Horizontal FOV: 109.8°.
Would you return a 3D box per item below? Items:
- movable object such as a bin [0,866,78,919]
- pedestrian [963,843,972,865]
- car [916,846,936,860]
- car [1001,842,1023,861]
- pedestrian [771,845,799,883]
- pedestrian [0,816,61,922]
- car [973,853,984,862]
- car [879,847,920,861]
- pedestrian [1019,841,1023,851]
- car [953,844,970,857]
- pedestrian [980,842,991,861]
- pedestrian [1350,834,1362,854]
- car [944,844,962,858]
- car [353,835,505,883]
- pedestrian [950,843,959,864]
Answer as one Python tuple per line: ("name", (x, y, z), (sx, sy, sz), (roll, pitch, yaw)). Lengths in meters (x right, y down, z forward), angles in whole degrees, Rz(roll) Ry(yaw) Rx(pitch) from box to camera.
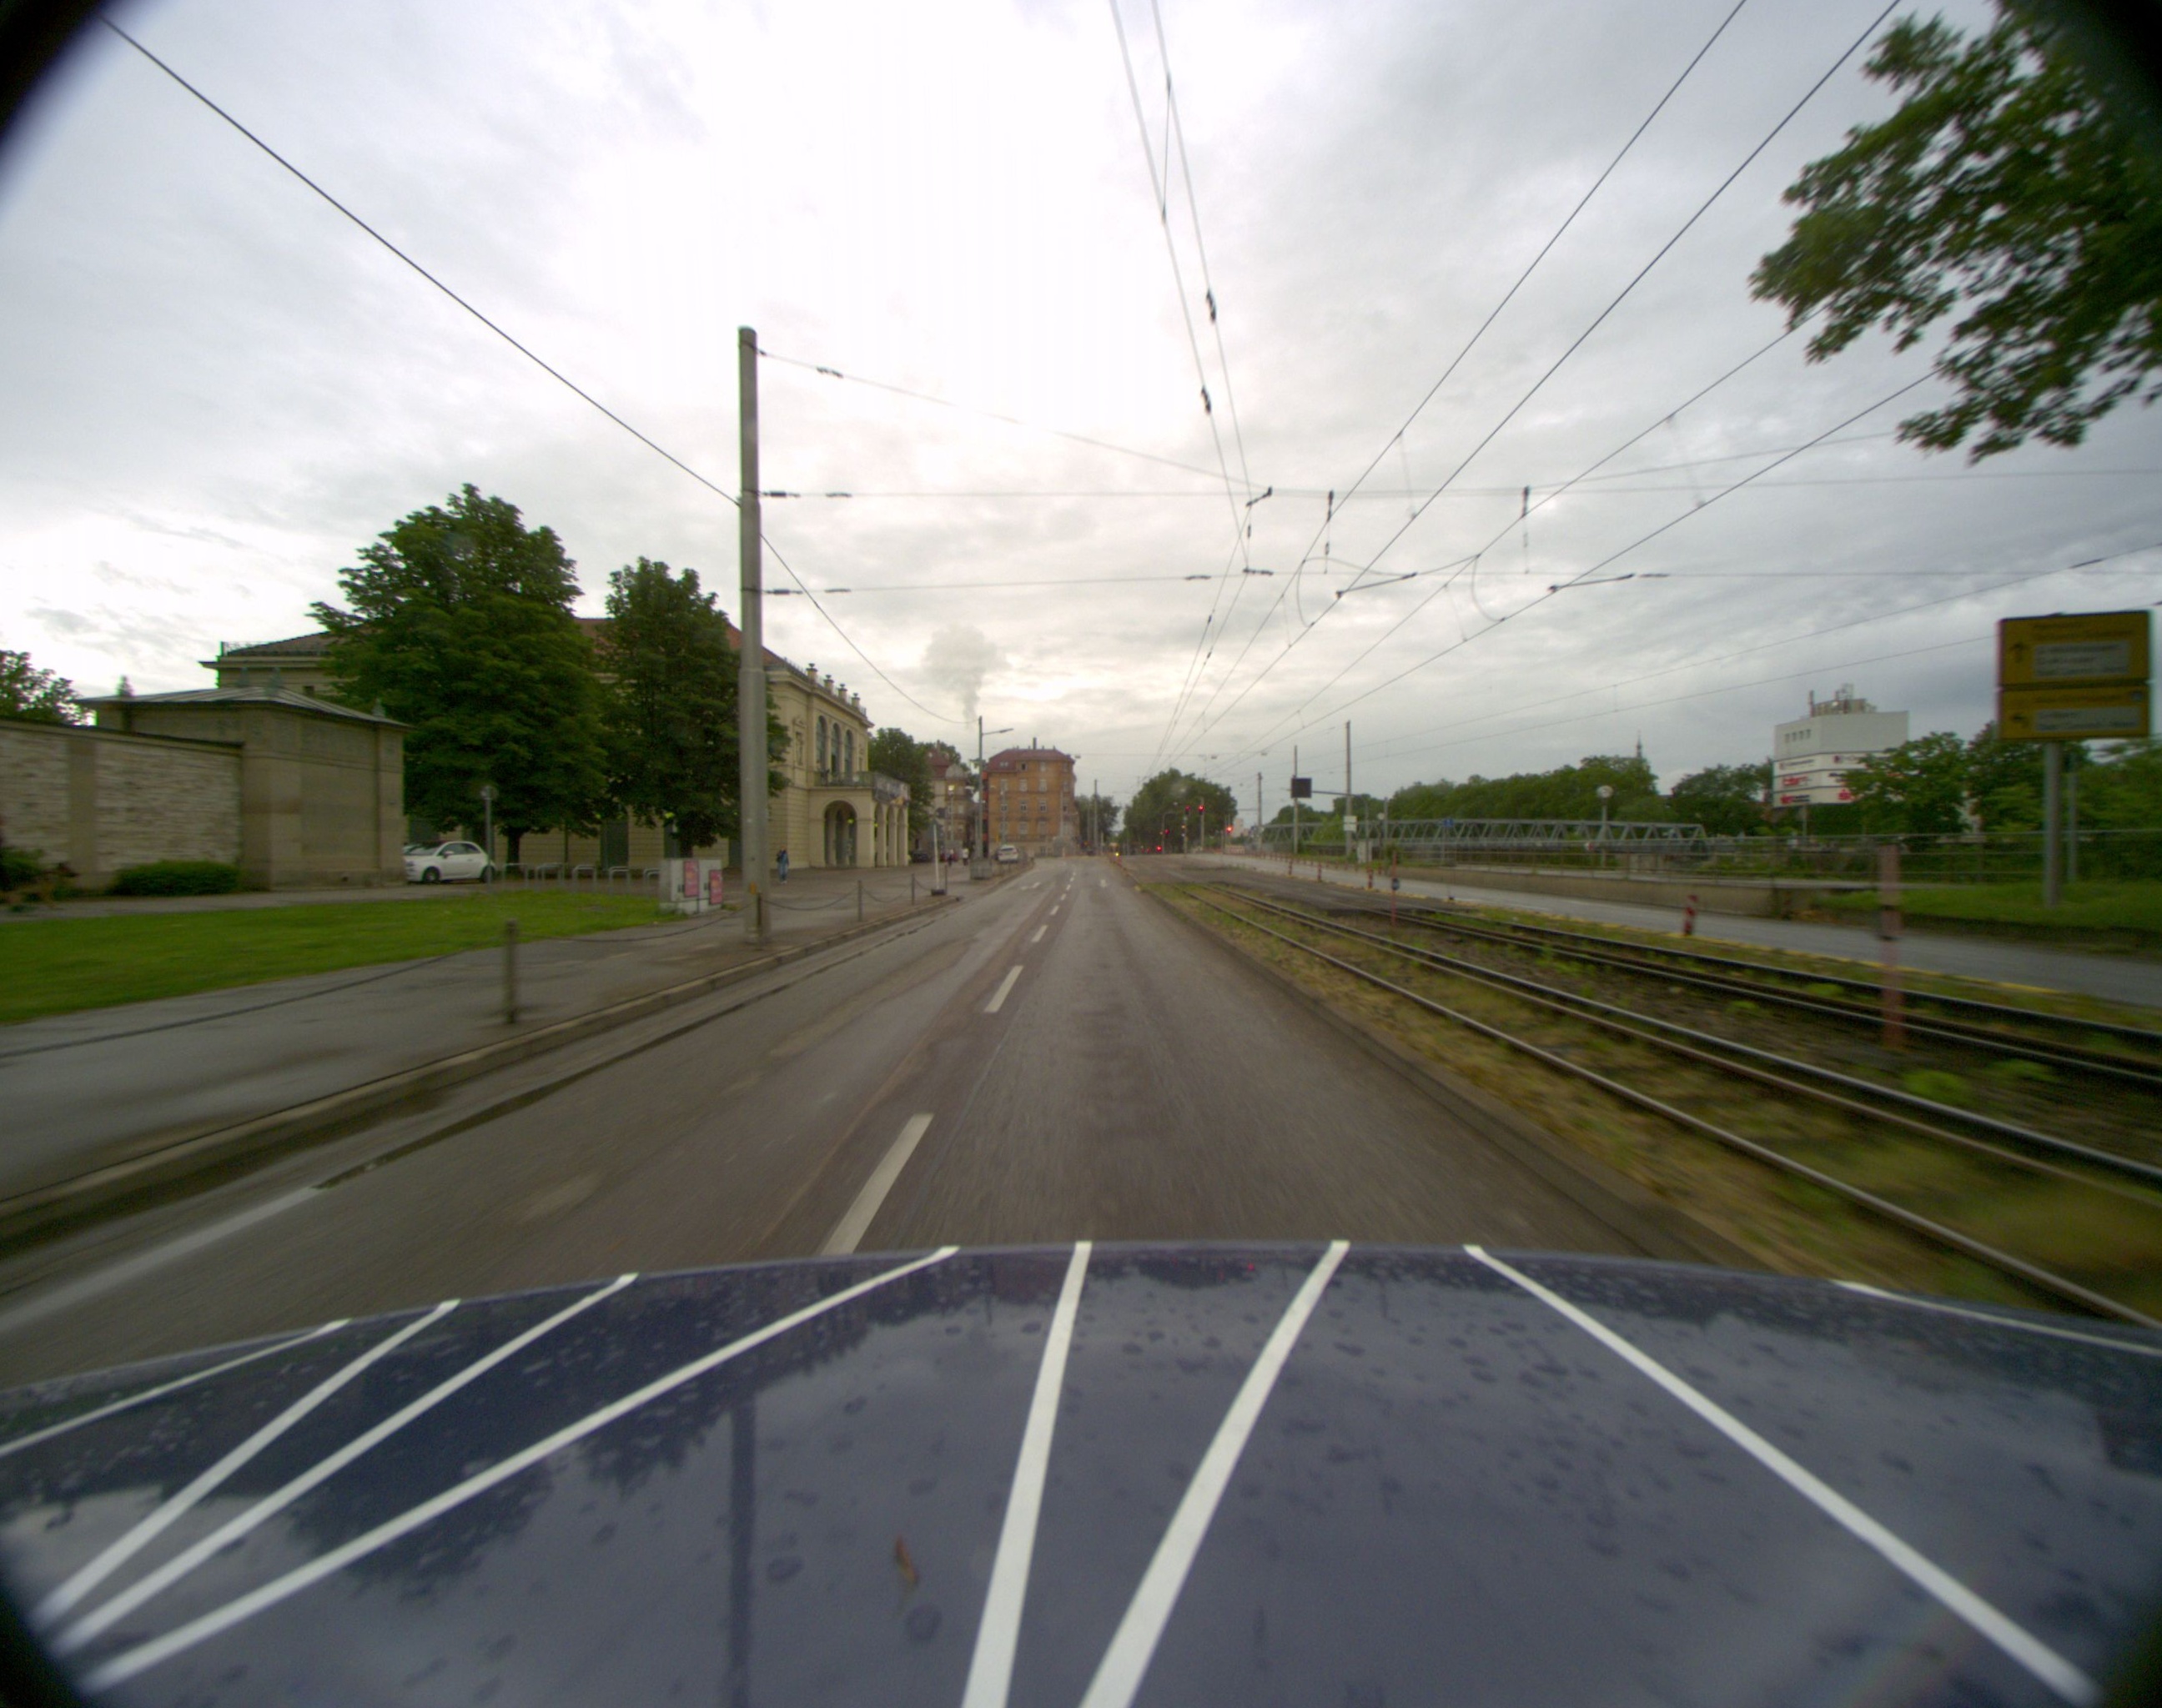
("movable object such as a bin", (-18.231, 0.654, 13.062), (0.343, 0.867, 1.191), (0, 1, 2))
("pedestrian", (-9.041, 0.004, 60.495), (0.595, 1.726, 0.839), (0, 2, -1))
("car", (-18.177, -0.185, 89.172), (1.864, 1.539, 4.063), (-2, 1, -6))
("car", (-6.361, -0.260, 70.470), (1.844, 1.630, 4.140), (-4, 1, -3))
("pedestrian", (-12.519, 0.420, 32.139), (0.863, 1.581, 0.669), (2, 1, 27))
("pedestrian", (-17.690, 0.235, 12.391), (0.730, 1.701, 0.981), (0, 1, 2))
("car", (-18.989, 0.615, 140.582), (1.831, 1.573, 3.997), (0, 1, -5))
("car", (-19.061, -0.020, 79.890), (3.742, 1.461, 1.729), (0, 1, 3))
("pedestrian", (-10.209, -1.366, 129.488), (0.512, 1.645, 0.534), (-1, 2, -1))
("car", (-15.720, -0.449, 99.945), (1.831, 1.573, 3.997), (0, 1, -5))
("pedestrian", (-9.155, -0.279, 72.864), (0.783, 1.797, 0.696), (-3, 3, -39))
("pedestrian", (22.958, -0.861, 63.492), (0.766, 1.678, 0.619), (0, 2, 0))
("car", (-14.950, -0.379, 88.900), (1.831, 1.573, 3.997), (0, 1, -5))
("car", (-21.237, 0.192, 24.952), (1.841, 1.446, 3.598), (0, -1, 1))
("pedestrian", (-10.229, -0.027, 61.290), (0.629, 1.635, 0.780), (0, 2, -6))
